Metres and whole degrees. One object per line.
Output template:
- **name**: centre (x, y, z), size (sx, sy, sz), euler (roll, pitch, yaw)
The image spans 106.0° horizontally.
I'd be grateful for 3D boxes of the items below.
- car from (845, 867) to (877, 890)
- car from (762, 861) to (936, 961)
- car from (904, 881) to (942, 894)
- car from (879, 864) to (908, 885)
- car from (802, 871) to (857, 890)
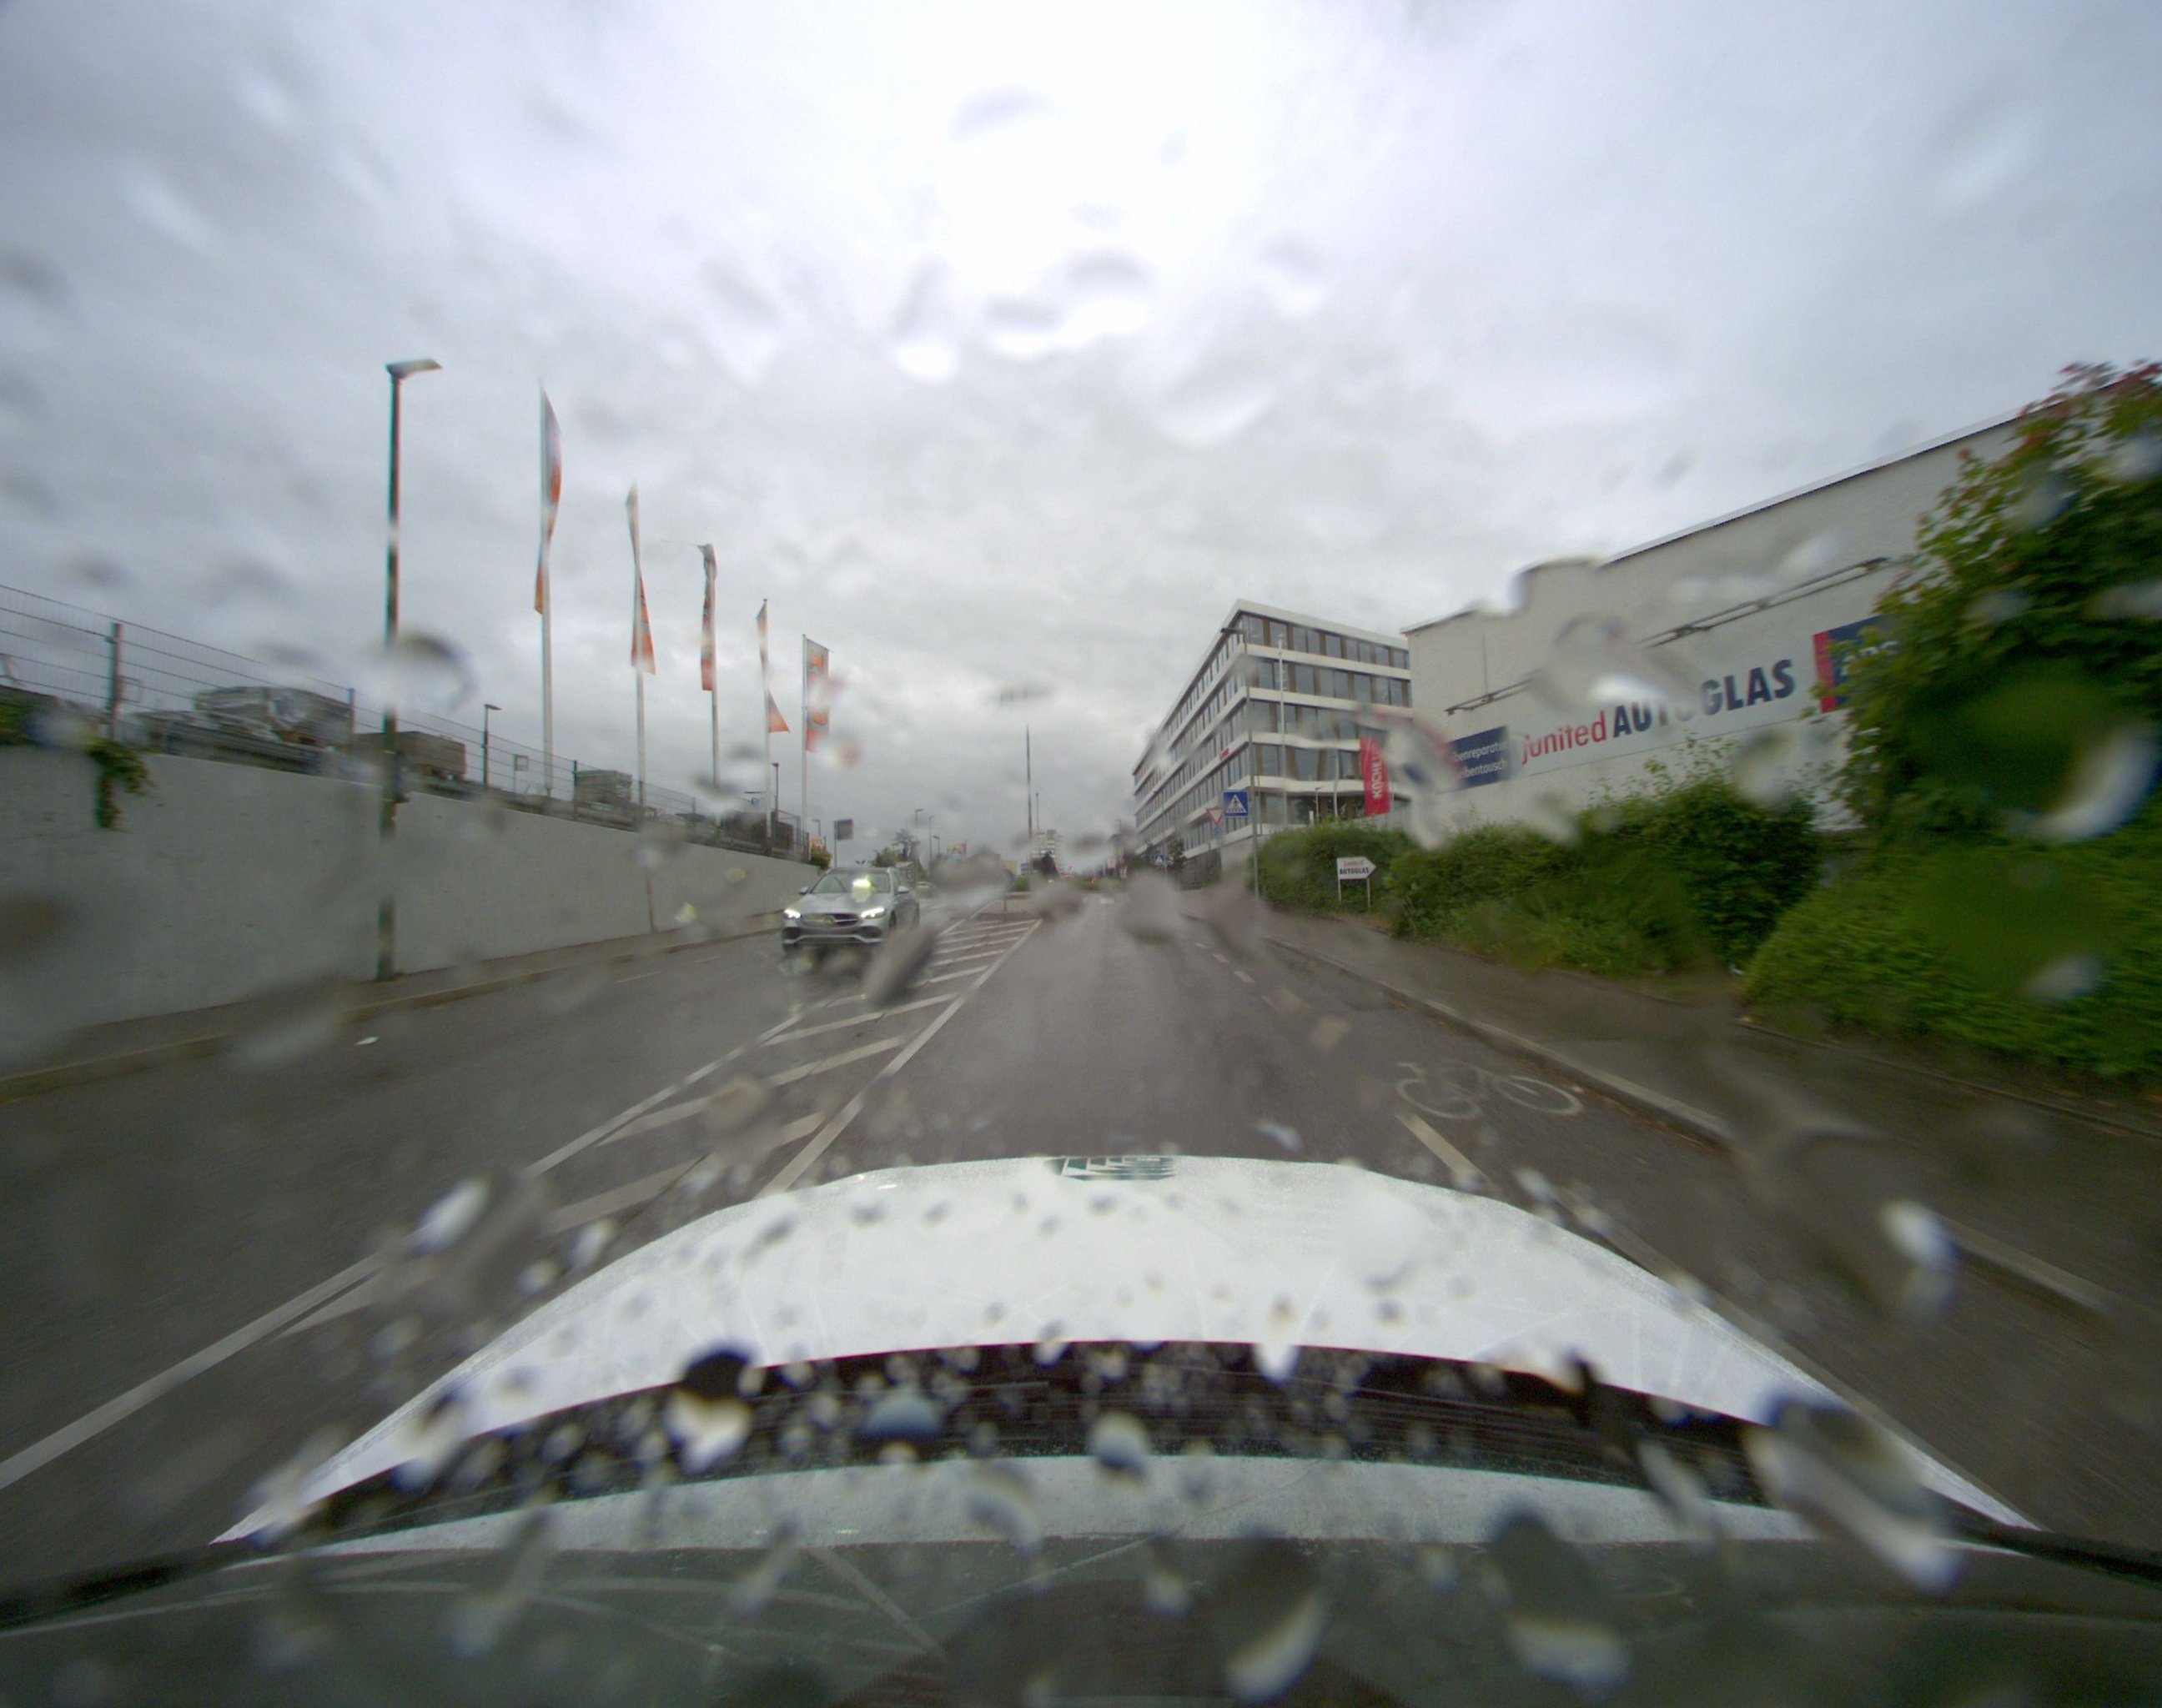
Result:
- **car**: centre (-21.397, 2.350, 79.345), size (1.990, 2.013, 4.993), euler (-2, 0, -4)
- **car**: centre (-4.095, 0.913, 15.273), size (1.996, 1.426, 4.777), euler (-2, 0, -2)
- **car**: centre (-18.064, 3.849, 93.245), size (4.033, 1.420, 1.757), euler (-1, -4, -19)
- **car**: centre (-19.056, 2.035, 82.875), size (1.989, 2.013, 4.995), euler (-2, 0, -3)
- **car**: centre (-18.976, 1.992, 61.577), size (3.522, 1.286, 1.997), euler (-2, -3, -4)
